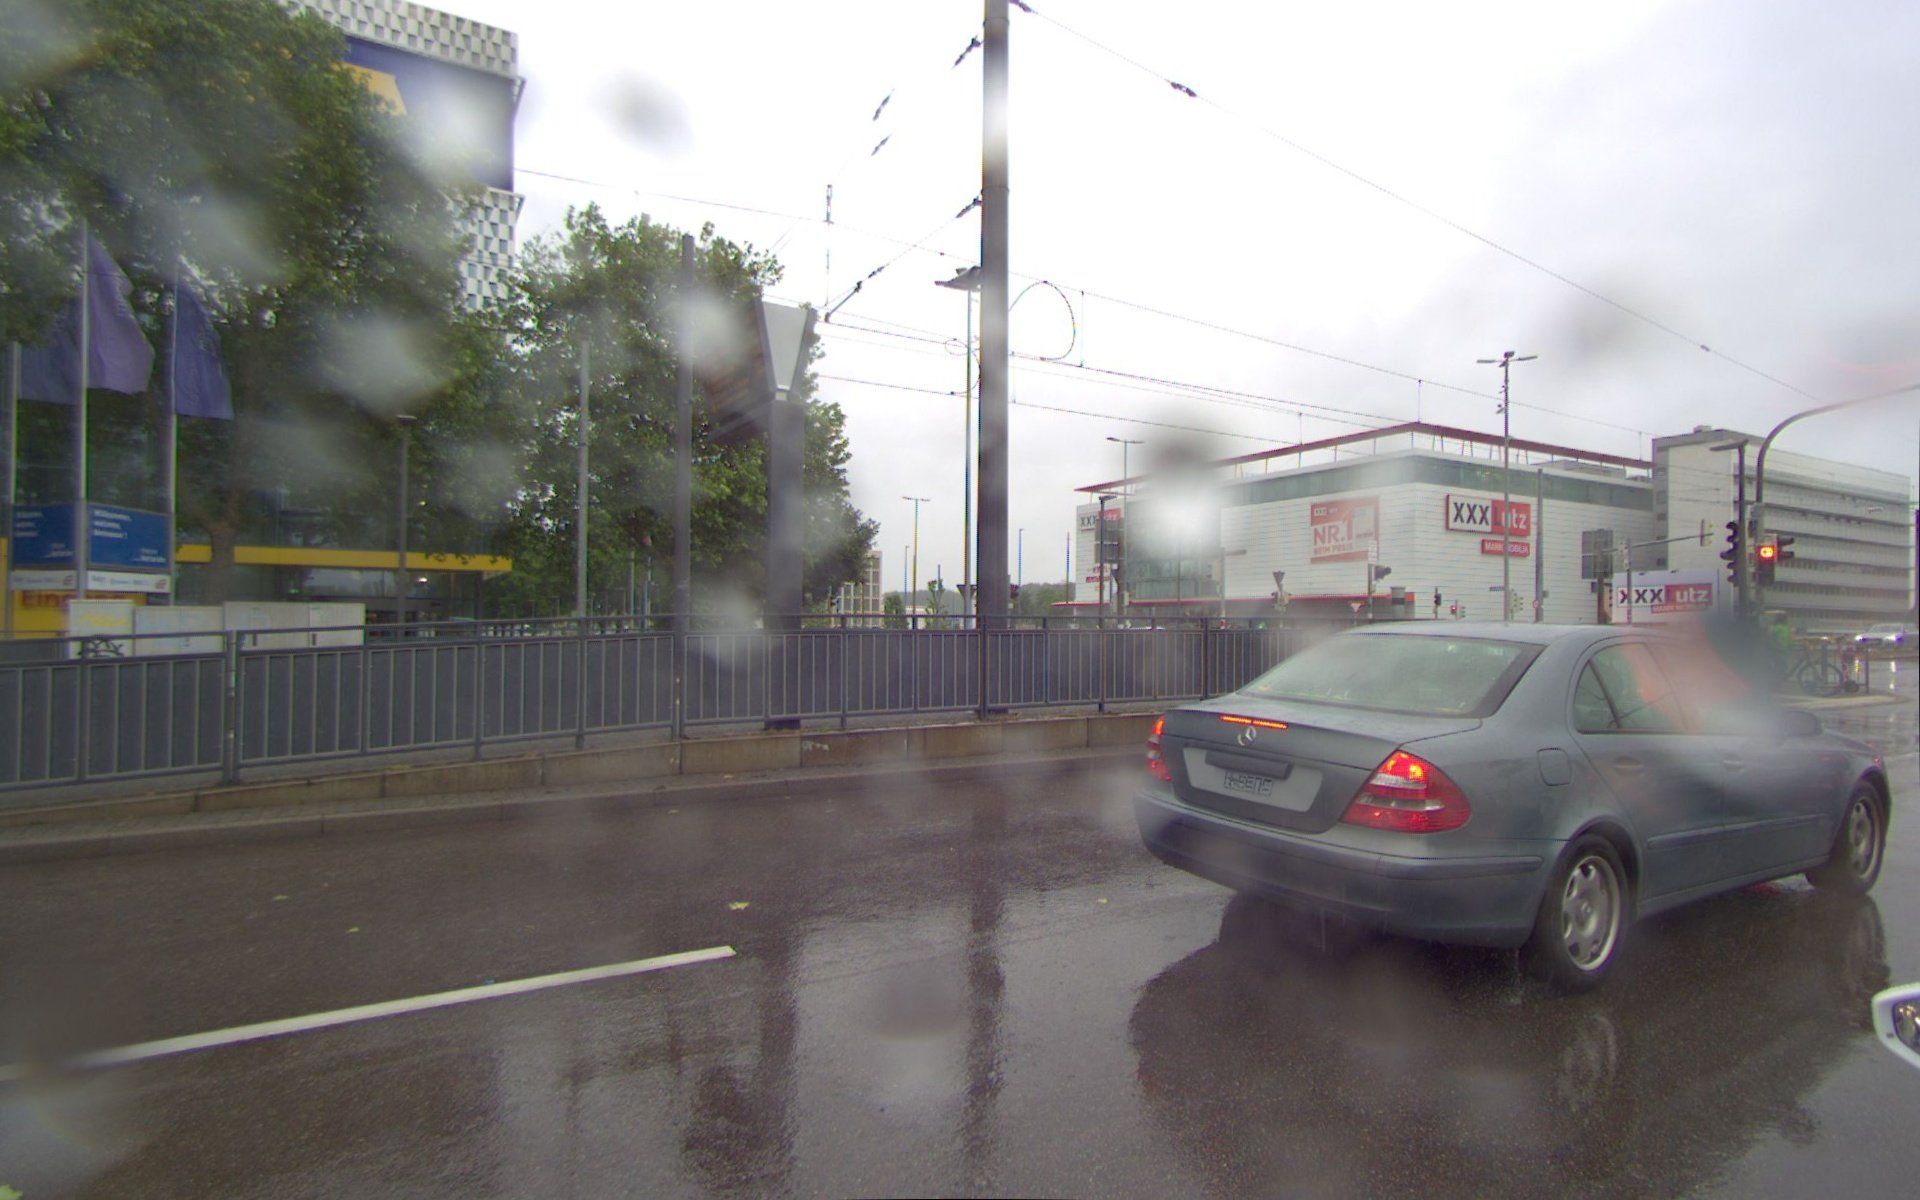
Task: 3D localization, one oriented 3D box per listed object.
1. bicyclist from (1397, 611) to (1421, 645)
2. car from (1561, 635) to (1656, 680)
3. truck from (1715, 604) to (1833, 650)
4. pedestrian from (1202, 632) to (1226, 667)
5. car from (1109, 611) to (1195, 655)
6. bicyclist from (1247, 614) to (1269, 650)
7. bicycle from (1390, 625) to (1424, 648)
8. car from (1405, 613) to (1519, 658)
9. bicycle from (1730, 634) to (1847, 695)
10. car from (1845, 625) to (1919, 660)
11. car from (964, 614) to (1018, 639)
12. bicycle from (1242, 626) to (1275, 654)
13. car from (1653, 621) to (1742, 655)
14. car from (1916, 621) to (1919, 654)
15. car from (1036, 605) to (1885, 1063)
[{"bbox_3d":[19.937,1.236,44.586,0.639,1.483,0.681,2,0,-29],"label":"bicyclist"},{"bbox_3d":[30.150,2.670,46.706,3.949,1.929,1.986,2,0,-27],"label":"car"},{"bbox_3d":[43.665,1.472,53.826,7.542,2.309,2.341,2,0,-30],"label":"truck"},{"bbox_3d":[11.714,2.271,46.325,0.863,1.557,0.560,2,0,-31],"label":"pedestrian"},{"bbox_3d":[9.652,1.622,50.786,1.976,2.040,4.295,2,0,-29],"label":"car"},{"bbox_3d":[12.035,1.292,40.553,0.643,1.418,0.529,2,0,-33],"label":"bicyclist"},{"bbox_3d":[19.856,1.636,44.566,1.688,1.000,0.448,2,0,-30],"label":"bicycle"},{"bbox_3d":[18.363,1.308,36.726,3.823,1.512,1.693,2,0,-25],"label":"car"},{"bbox_3d":[16.832,1.290,20.458,0.409,1.048,1.742,2,3,-31],"label":"bicycle"},{"bbox_3d":[48.855,2.224,52.995,3.947,1.722,1.886,2,0,-26],"label":"car"},{"bbox_3d":[2.170,1.840,70.213,3.723,1.645,2.001,2,0,2],"label":"car"},{"bbox_3d":[12.060,1.622,40.566,1.493,1.075,0.408,2,0,-33],"label":"bicycle"},{"bbox_3d":[32.714,1.690,44.562,3.780,1.354,1.582,2,0,-26],"label":"car"},{"bbox_3d":[56.193,2.161,56.695,3.947,1.851,1.923,2,0,-26],"label":"car"},{"bbox_3d":[2.768,0.820,5.149,4.594,1.417,1.752,2,0,-32],"label":"car"}]
